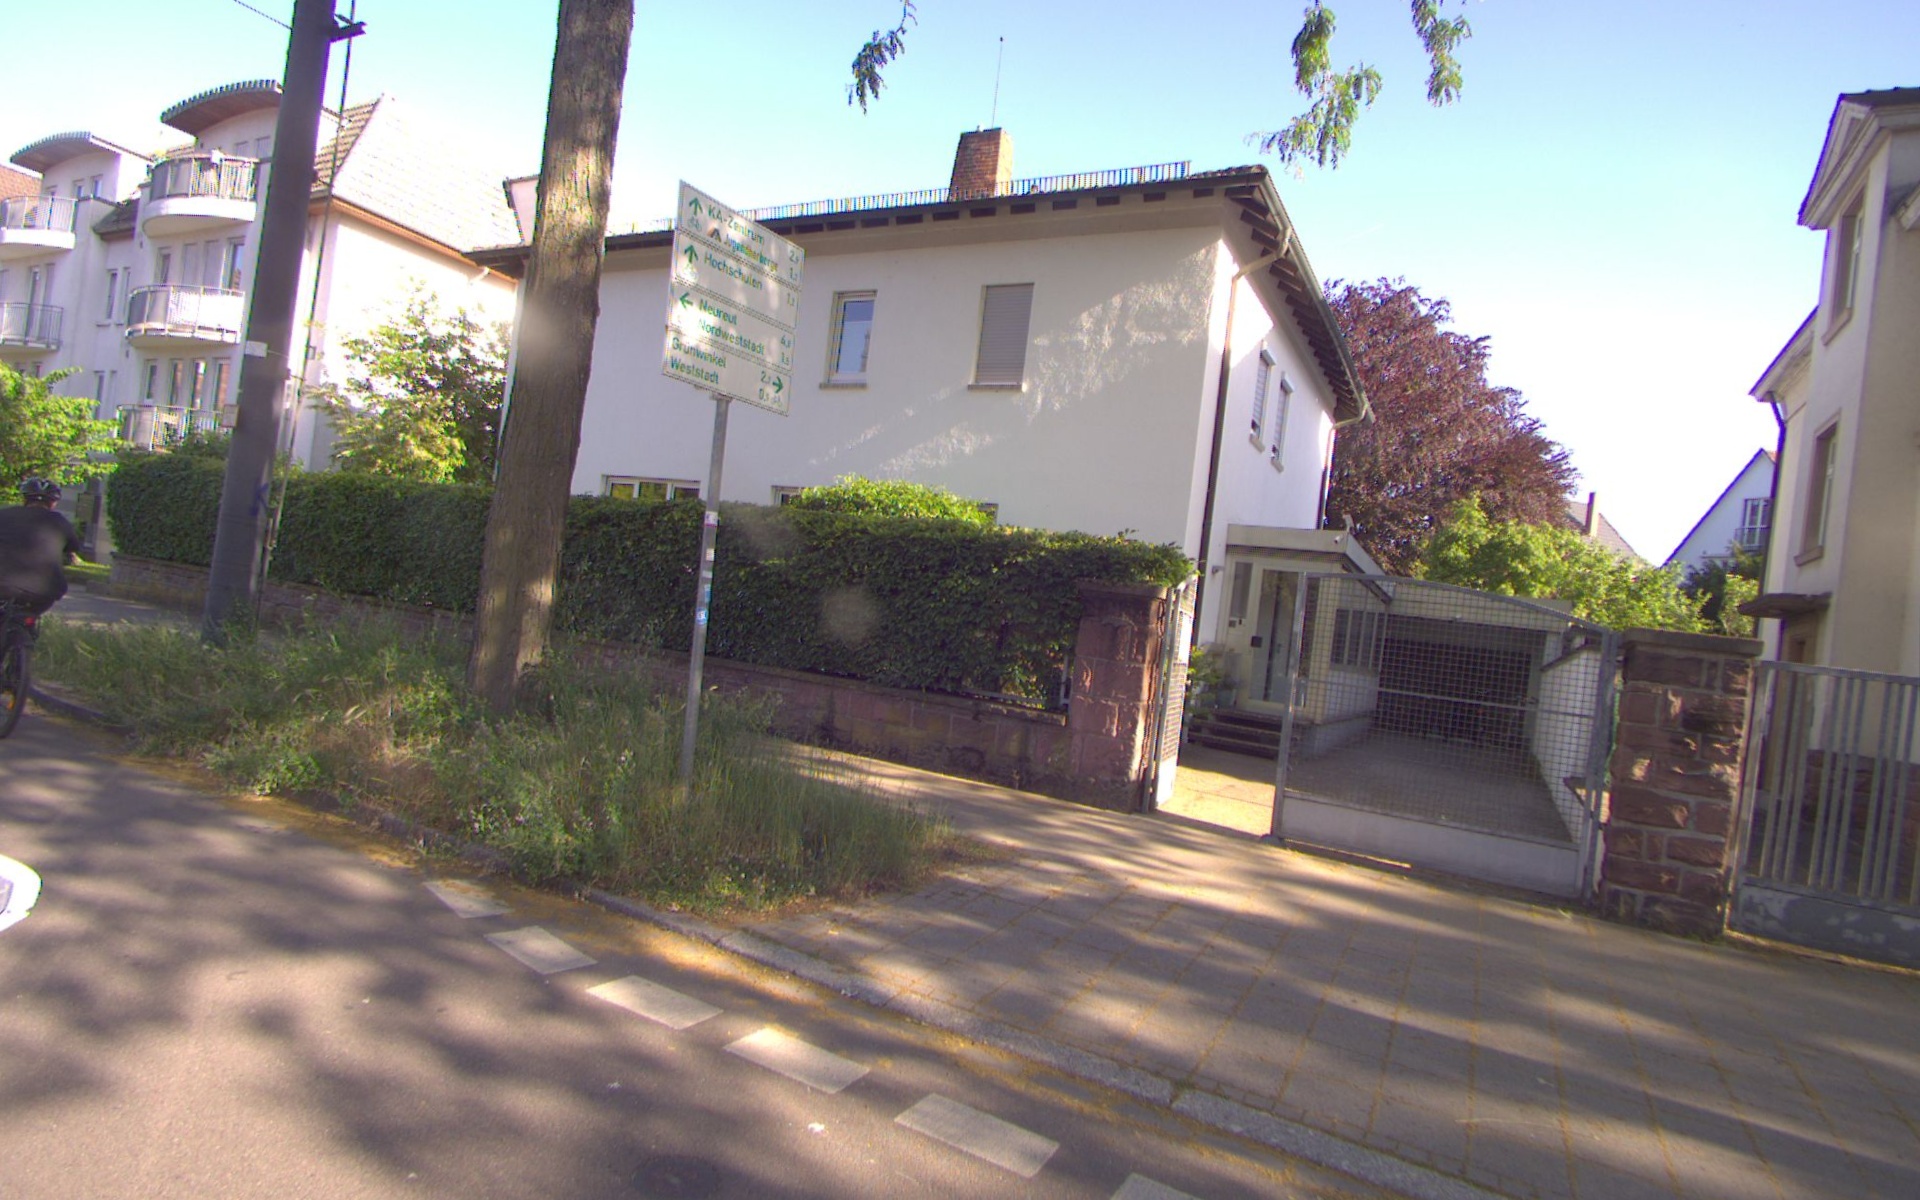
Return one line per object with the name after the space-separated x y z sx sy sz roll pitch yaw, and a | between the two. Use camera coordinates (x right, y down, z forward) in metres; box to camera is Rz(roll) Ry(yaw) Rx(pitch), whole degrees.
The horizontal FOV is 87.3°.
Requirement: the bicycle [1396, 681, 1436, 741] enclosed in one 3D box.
9.503 2.307 20.931 0.512 1.135 1.465 7 -2 30 | bicycle

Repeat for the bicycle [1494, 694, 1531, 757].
10.936 2.478 19.899 0.512 1.135 1.465 7 -2 30 | bicycle

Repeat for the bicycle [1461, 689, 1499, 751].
10.490 2.412 20.269 0.512 1.135 1.465 7 -2 30 | bicycle

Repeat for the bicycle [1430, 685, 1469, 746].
10.014 2.361 20.566 0.512 1.135 1.465 7 -2 30 | bicycle

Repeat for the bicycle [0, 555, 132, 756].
-6.612 0.304 6.915 2.063 1.167 0.830 6 -3 37 | bicycle

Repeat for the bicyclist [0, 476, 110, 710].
-6.605 -0.073 6.936 0.920 1.519 0.821 6 -1 37 | bicyclist
